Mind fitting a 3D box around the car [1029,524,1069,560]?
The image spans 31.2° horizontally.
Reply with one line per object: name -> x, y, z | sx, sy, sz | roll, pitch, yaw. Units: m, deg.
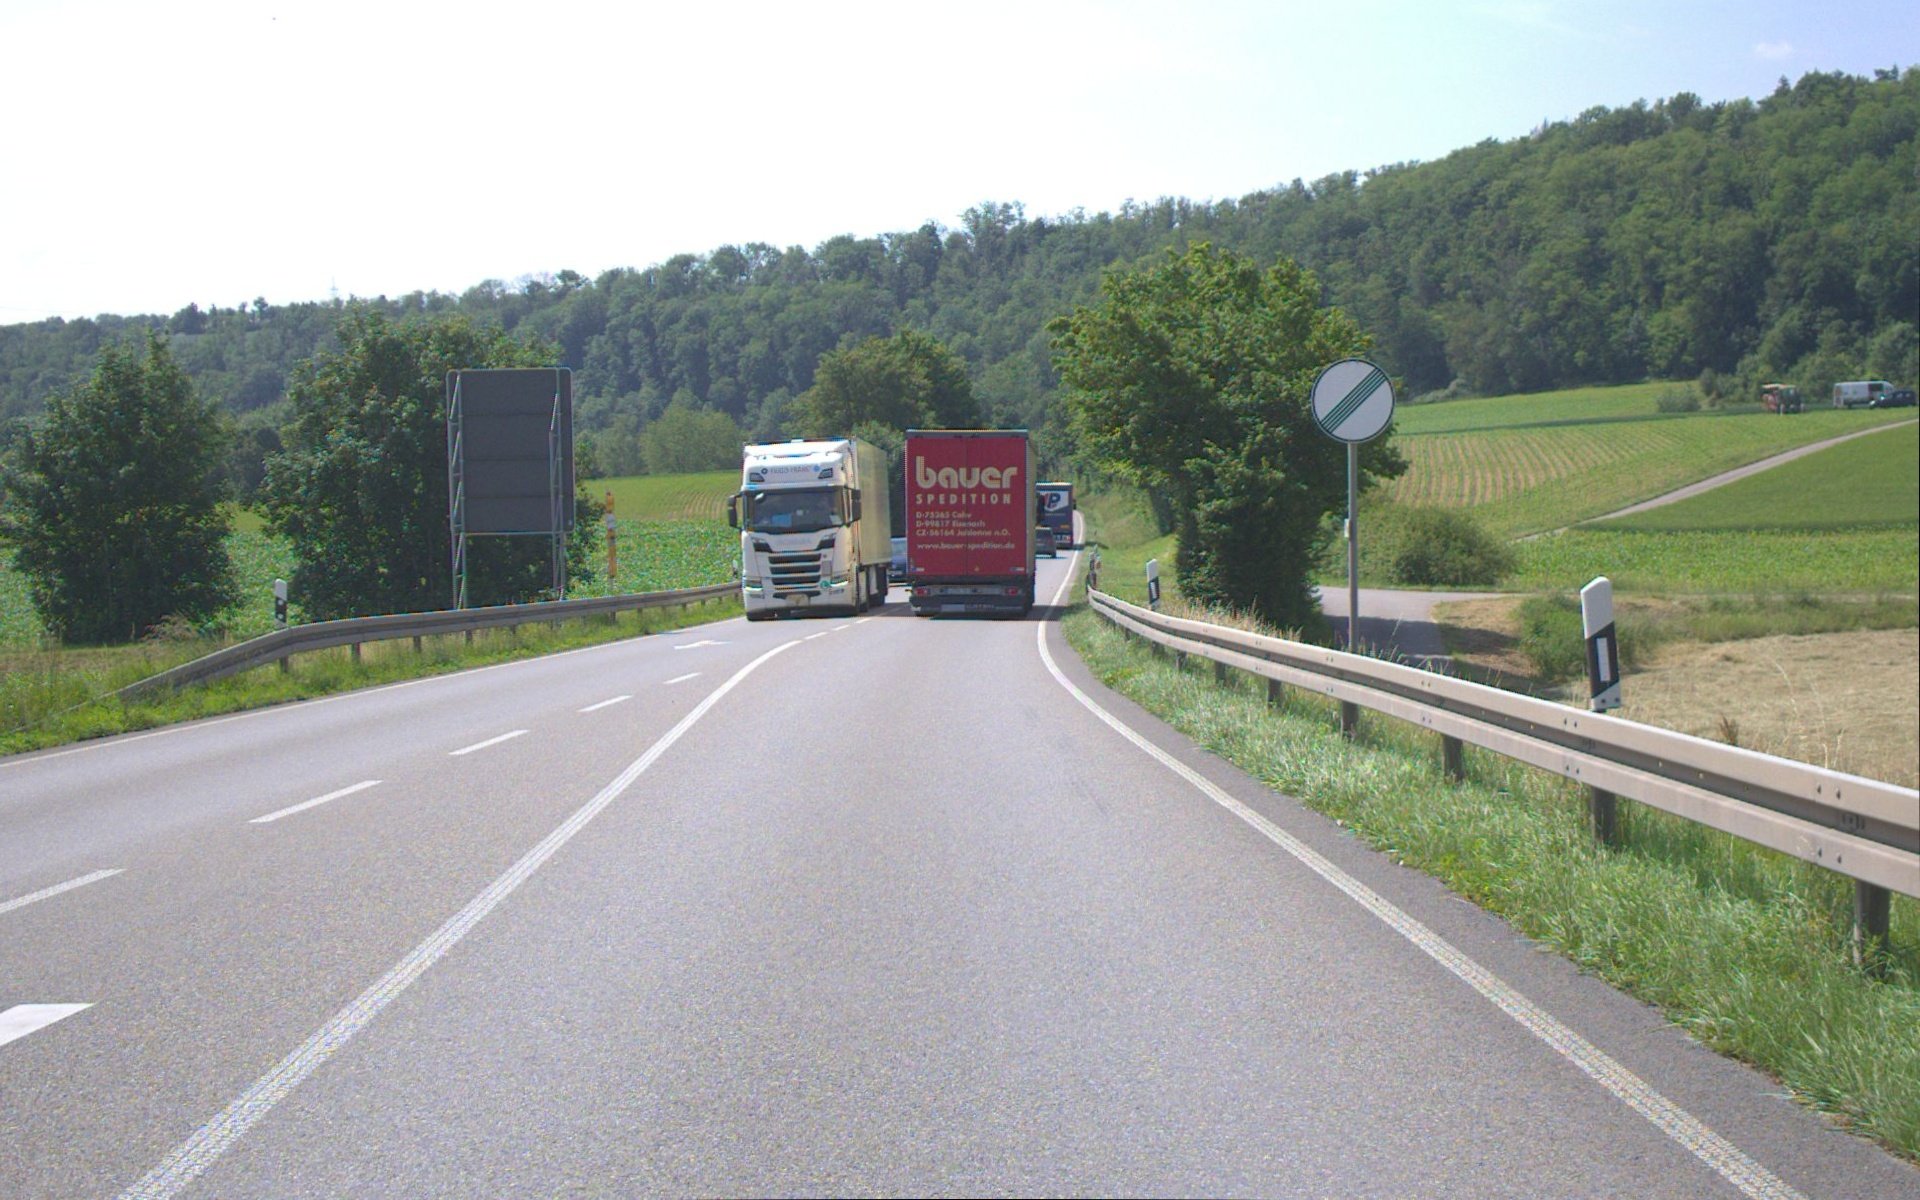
car -> 4.808, -3.129, 185.960 | 1.993, 1.804, 4.000 | 3, 1, 1

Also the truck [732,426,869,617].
truck -> -3.587, -1.772, 78.571 | 2.530, 4.105, 6.021 | -2, 1, 2

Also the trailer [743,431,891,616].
trailer -> -3.384, -1.833, 85.081 | 2.507, 4.105, 13.898 | -2, 1, 2

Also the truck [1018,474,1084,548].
truck -> 5.726, -5.526, 216.648 | 3.905, 4.354, 13.292 | 2, 1, 1

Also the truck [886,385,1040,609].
truck -> 0.097, -2.289, 77.962 | 3.172, 4.609, 13.544 | 0, 1, 0

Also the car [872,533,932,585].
car -> -2.034, -1.460, 121.753 | 1.829, 1.716, 4.363 | -3, 1, 2
